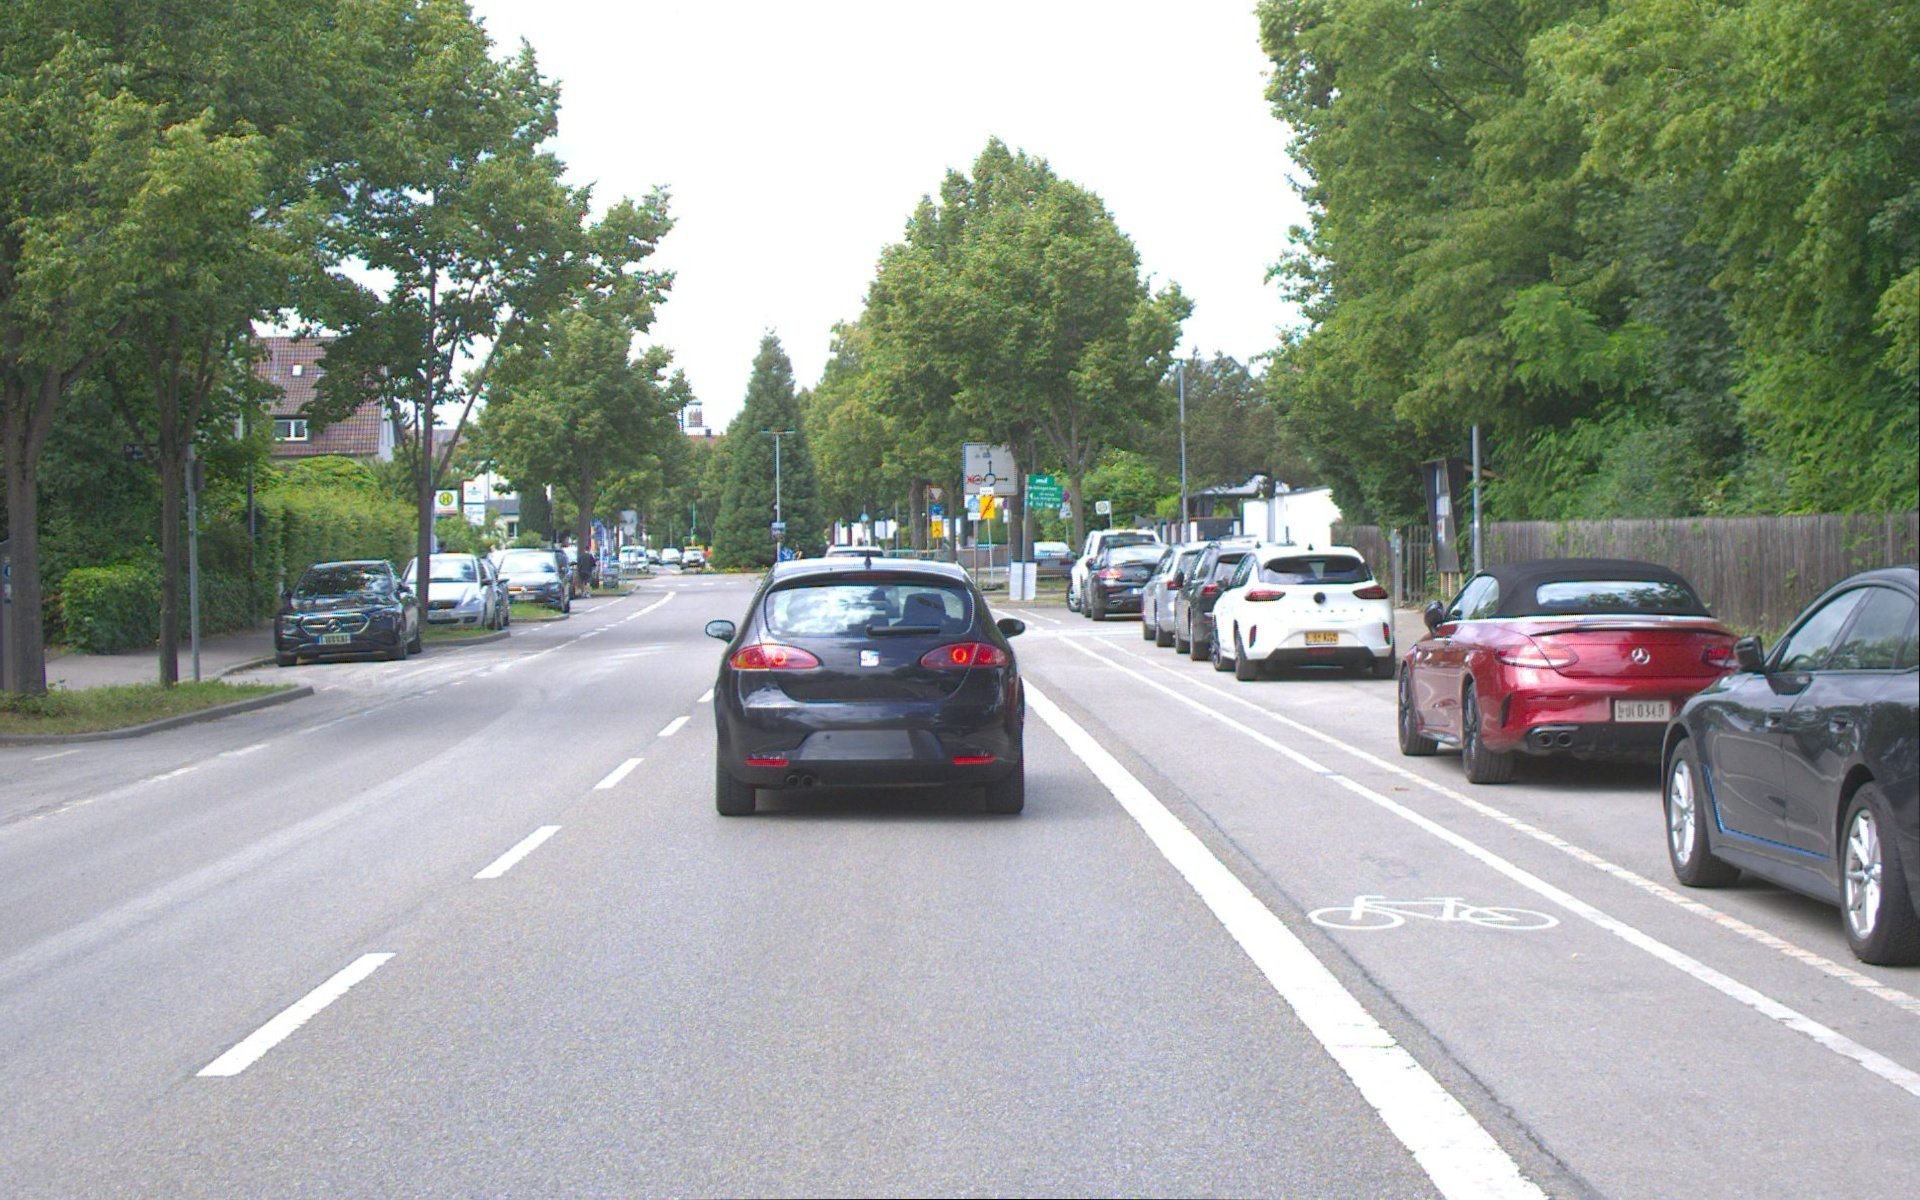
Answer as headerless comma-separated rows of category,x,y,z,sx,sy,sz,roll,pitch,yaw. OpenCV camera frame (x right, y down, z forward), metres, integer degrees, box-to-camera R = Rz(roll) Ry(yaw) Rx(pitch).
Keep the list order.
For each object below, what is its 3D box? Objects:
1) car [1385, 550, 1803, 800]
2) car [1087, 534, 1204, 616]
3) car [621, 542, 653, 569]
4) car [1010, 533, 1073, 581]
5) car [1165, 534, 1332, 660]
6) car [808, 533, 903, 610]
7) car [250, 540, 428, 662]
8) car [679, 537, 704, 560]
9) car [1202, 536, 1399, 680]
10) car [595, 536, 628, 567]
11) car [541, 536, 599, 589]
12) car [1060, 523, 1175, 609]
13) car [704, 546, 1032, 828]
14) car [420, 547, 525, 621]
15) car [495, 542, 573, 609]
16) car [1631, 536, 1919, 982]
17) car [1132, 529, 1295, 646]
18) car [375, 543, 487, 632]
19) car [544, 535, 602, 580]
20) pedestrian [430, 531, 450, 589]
car,4.088,0.418,22.906,1.859,1.408,4.444,1,2,-1
car,3.353,-0.484,62.982,1.863,1.412,4.603,-1,1,0
car,-19.471,-2.694,207.360,1.797,1.596,4.001,-2,1,-4
car,2.497,-1.311,106.223,1.611,1.372,4.387,-1,0,-2
car,3.644,-0.084,44.137,1.702,1.505,4.538,0,1,-1
car,-2.268,-0.641,74.658,1.993,1.607,4.000,-1,1,-2
car,-9.335,-0.029,52.043,2.095,1.641,5.039,-2,1,-4
car,-19.188,-3.676,245.733,1.568,1.628,3.622,-2,1,-2
car,3.763,0.063,38.585,1.768,1.505,4.031,-1,1,0
car,-22.805,-3.189,225.028,2.029,1.964,4.001,-2,1,-6
car,-12.881,-1.253,113.769,1.724,1.719,4.566,-1,1,-5
car,3.146,-0.682,69.375,1.900,1.637,4.117,-1,1,-3
car,-0.503,0.435,20.395,1.732,1.481,4.000,1,1,0
car,-10.544,-0.368,74.610,1.993,1.480,4.891,-2,1,-5
car,-10.435,-0.622,84.407,1.677,1.546,4.273,-1,1,-4
car,4.108,0.520,13.751,1.816,1.510,4.680,0,1,-1
car,3.595,-0.194,49.555,1.861,1.605,4.687,0,1,-2
car,-10.176,-0.268,66.355,1.718,1.607,3.911,-2,1,-3
car,-14.584,-1.601,129.669,1.860,1.648,4.295,-1,1,-2
pedestrian,-16.174,-1.251,106.912,0.503,1.800,0.671,-1,1,-3
